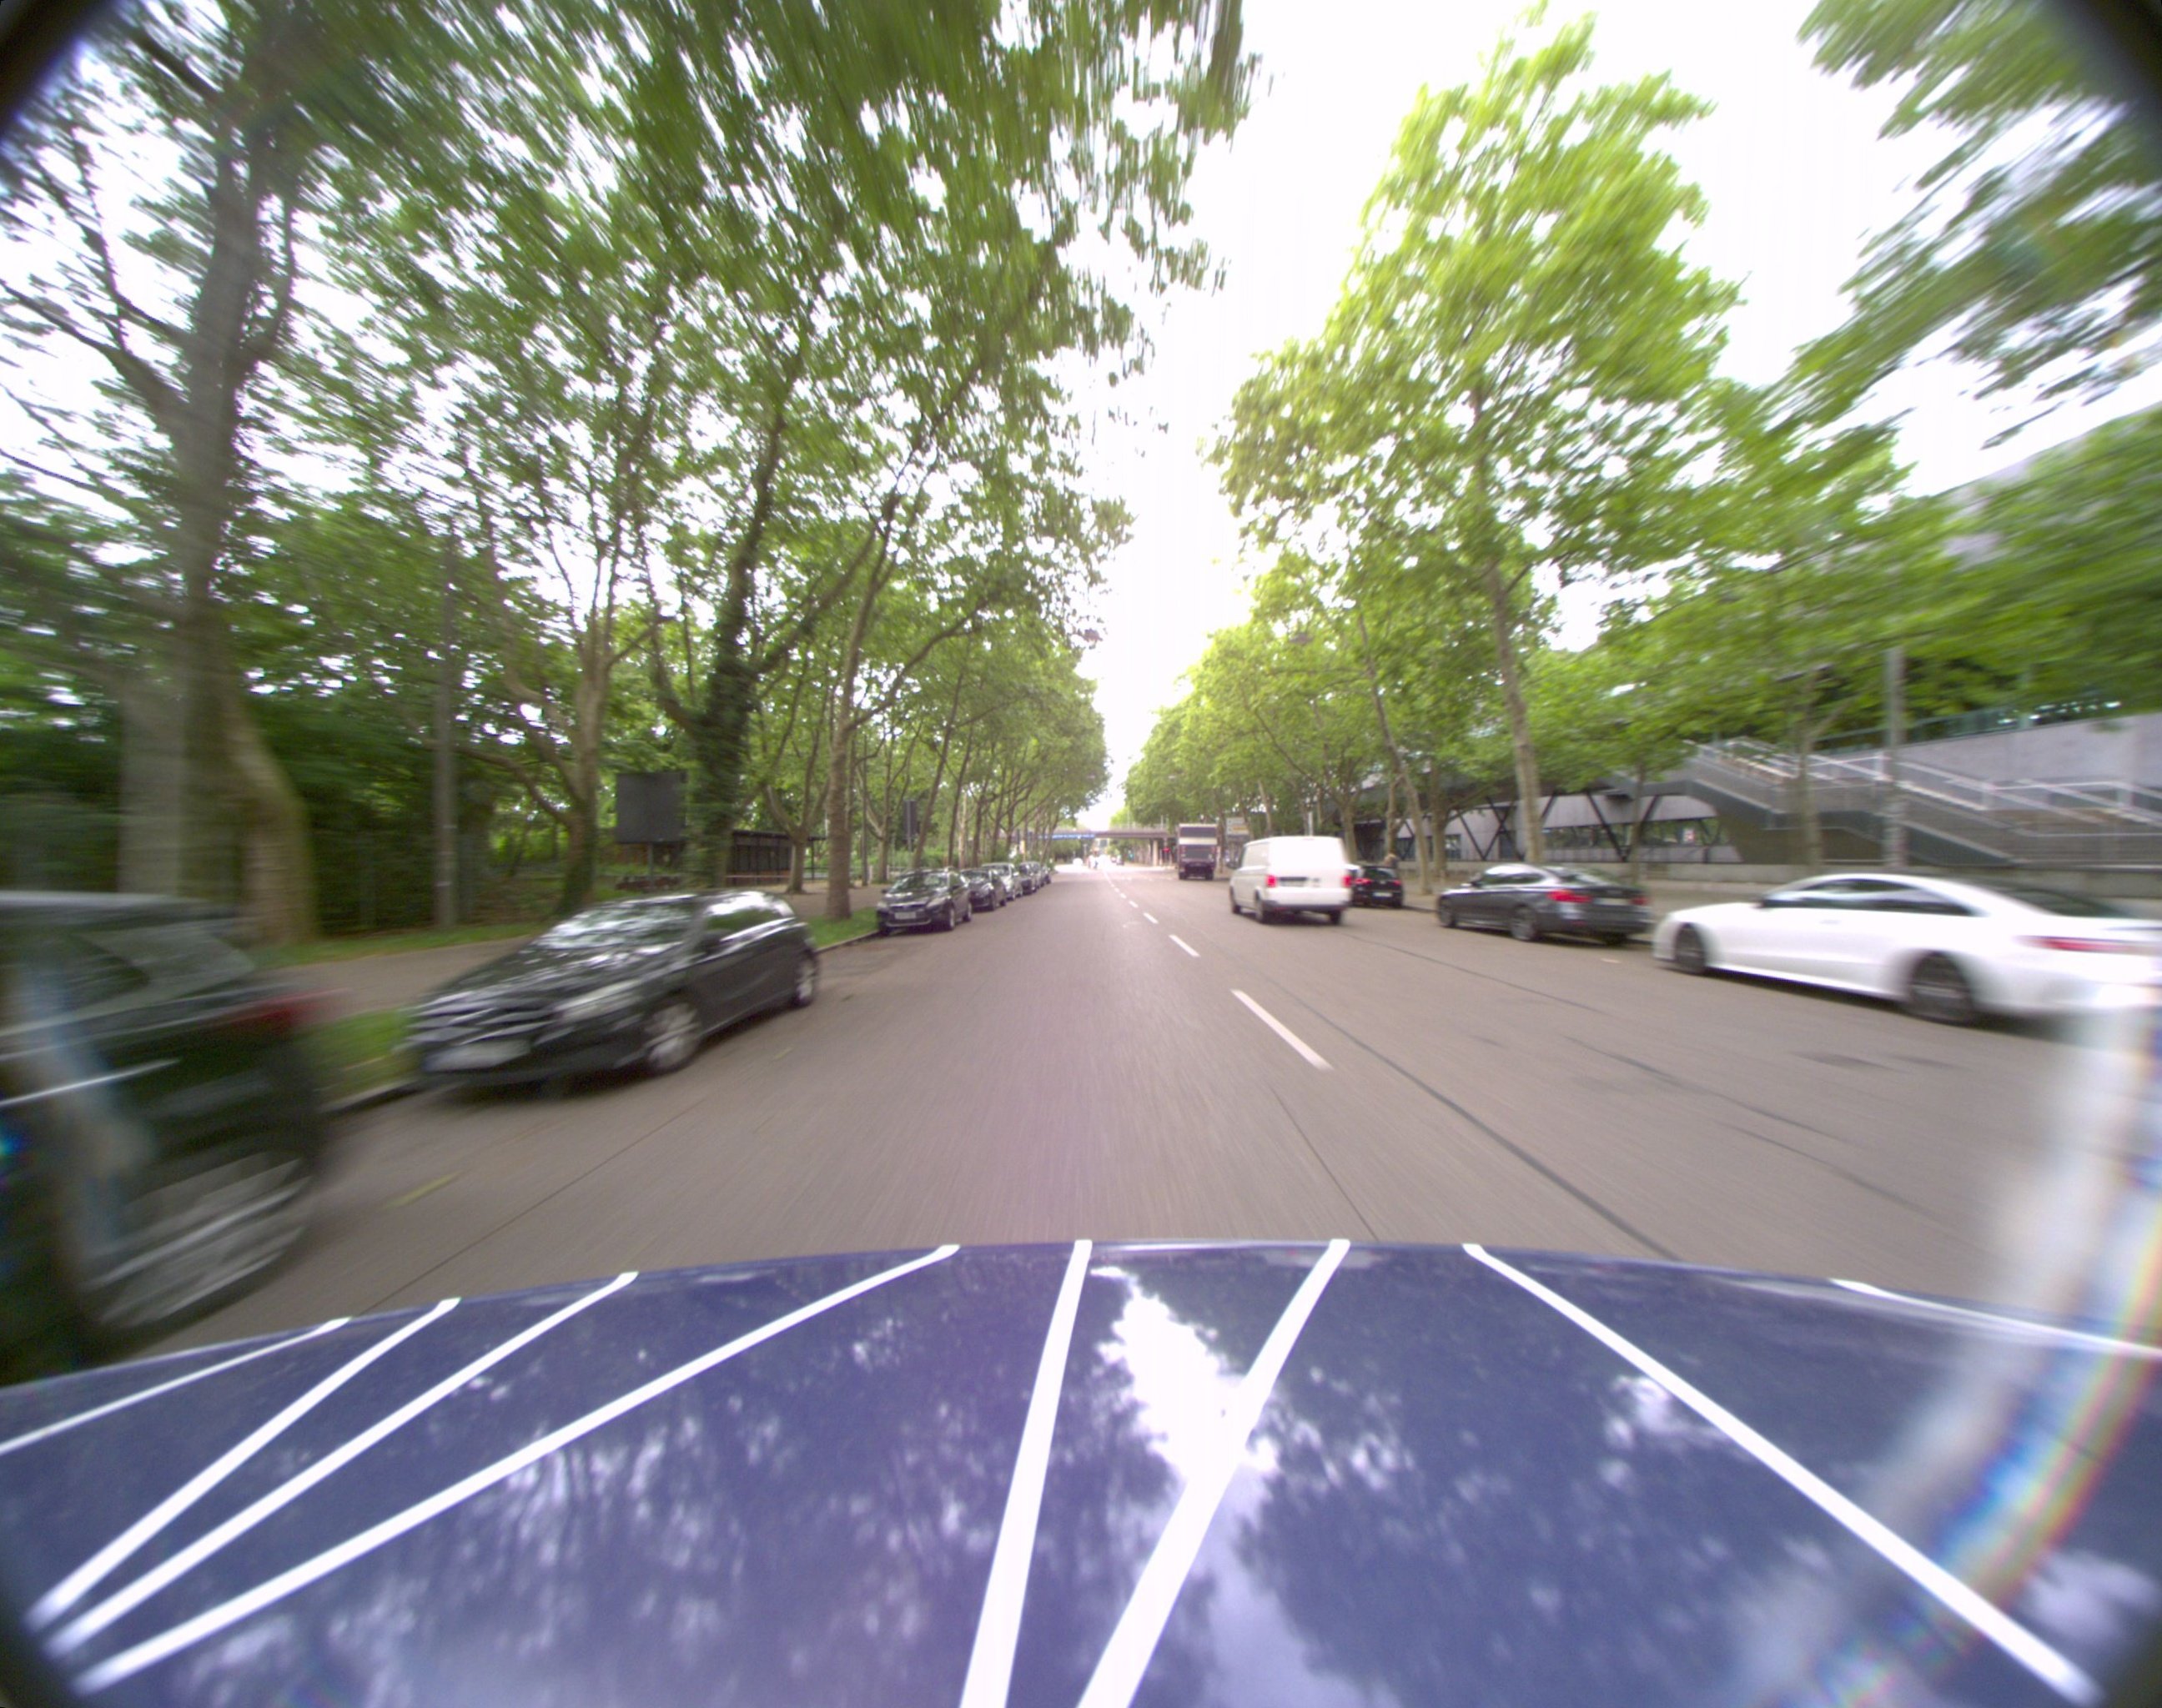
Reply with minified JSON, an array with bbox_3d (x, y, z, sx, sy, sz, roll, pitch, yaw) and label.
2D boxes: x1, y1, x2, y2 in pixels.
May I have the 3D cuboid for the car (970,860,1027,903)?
[{"bbox_3d":[-3.485,1.146,32.802,1.783,1.608,4.225,-3,0,2],"label":"car"}]

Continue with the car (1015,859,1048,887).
[{"bbox_3d":[-3.068,1.172,47.847,1.734,1.560,4.079,-3,0,0],"label":"car"}]

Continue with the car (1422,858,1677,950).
[{"bbox_3d":[8.801,0.835,14.953,1.824,1.476,4.992,0,0,-2],"label":"car"}]

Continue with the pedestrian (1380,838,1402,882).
[{"bbox_3d":[13.137,0.235,32.182,0.508,1.829,0.826,-1,0,-5],"label":"pedestrian"}]

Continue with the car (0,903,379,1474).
[{"bbox_3d":[-4.117,1.060,1.160,1.834,1.593,4.467,-3,0,0],"label":"car"}]

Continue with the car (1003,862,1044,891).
[{"bbox_3d":[-3.197,1.250,42.864,1.734,1.413,4.080,-3,0,2],"label":"car"}]

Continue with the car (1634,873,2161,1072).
[{"bbox_3d":[8.629,0.950,8.116,1.820,1.354,5.005,1,0,0],"label":"car"}]

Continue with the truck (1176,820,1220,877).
[{"bbox_3d":[8.573,-0.439,56.012,2.915,3.846,9.472,1,1,8],"label":"truck"}]

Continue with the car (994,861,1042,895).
[{"bbox_3d":[-3.066,1.144,37.828,1.734,1.468,4.983,-3,0,2],"label":"car"}]

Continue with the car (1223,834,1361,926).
[{"bbox_3d":[4.979,0.558,18.838,2.064,1.950,5.466,0,0,2],"label":"car"}]

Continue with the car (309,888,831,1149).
[{"bbox_3d":[-4.002,1.161,7.039,1.780,1.410,4.287,-3,0,2],"label":"car"}]

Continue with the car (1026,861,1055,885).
[{"bbox_3d":[-2.851,1.318,53.864,1.734,1.460,4.080,-3,0,0],"label":"car"}]

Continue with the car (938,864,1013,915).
[{"bbox_3d":[-3.549,1.152,26.265,1.743,1.462,4.152,-3,0,3],"label":"car"}]

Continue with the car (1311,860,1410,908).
[{"bbox_3d":[9.272,0.953,25.581,1.712,1.374,4.331,3,0,1],"label":"car"}]

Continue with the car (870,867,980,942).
[{"bbox_3d":[-3.821,1.177,19.414,1.781,1.544,4.396,-3,0,0],"label":"car"}]
